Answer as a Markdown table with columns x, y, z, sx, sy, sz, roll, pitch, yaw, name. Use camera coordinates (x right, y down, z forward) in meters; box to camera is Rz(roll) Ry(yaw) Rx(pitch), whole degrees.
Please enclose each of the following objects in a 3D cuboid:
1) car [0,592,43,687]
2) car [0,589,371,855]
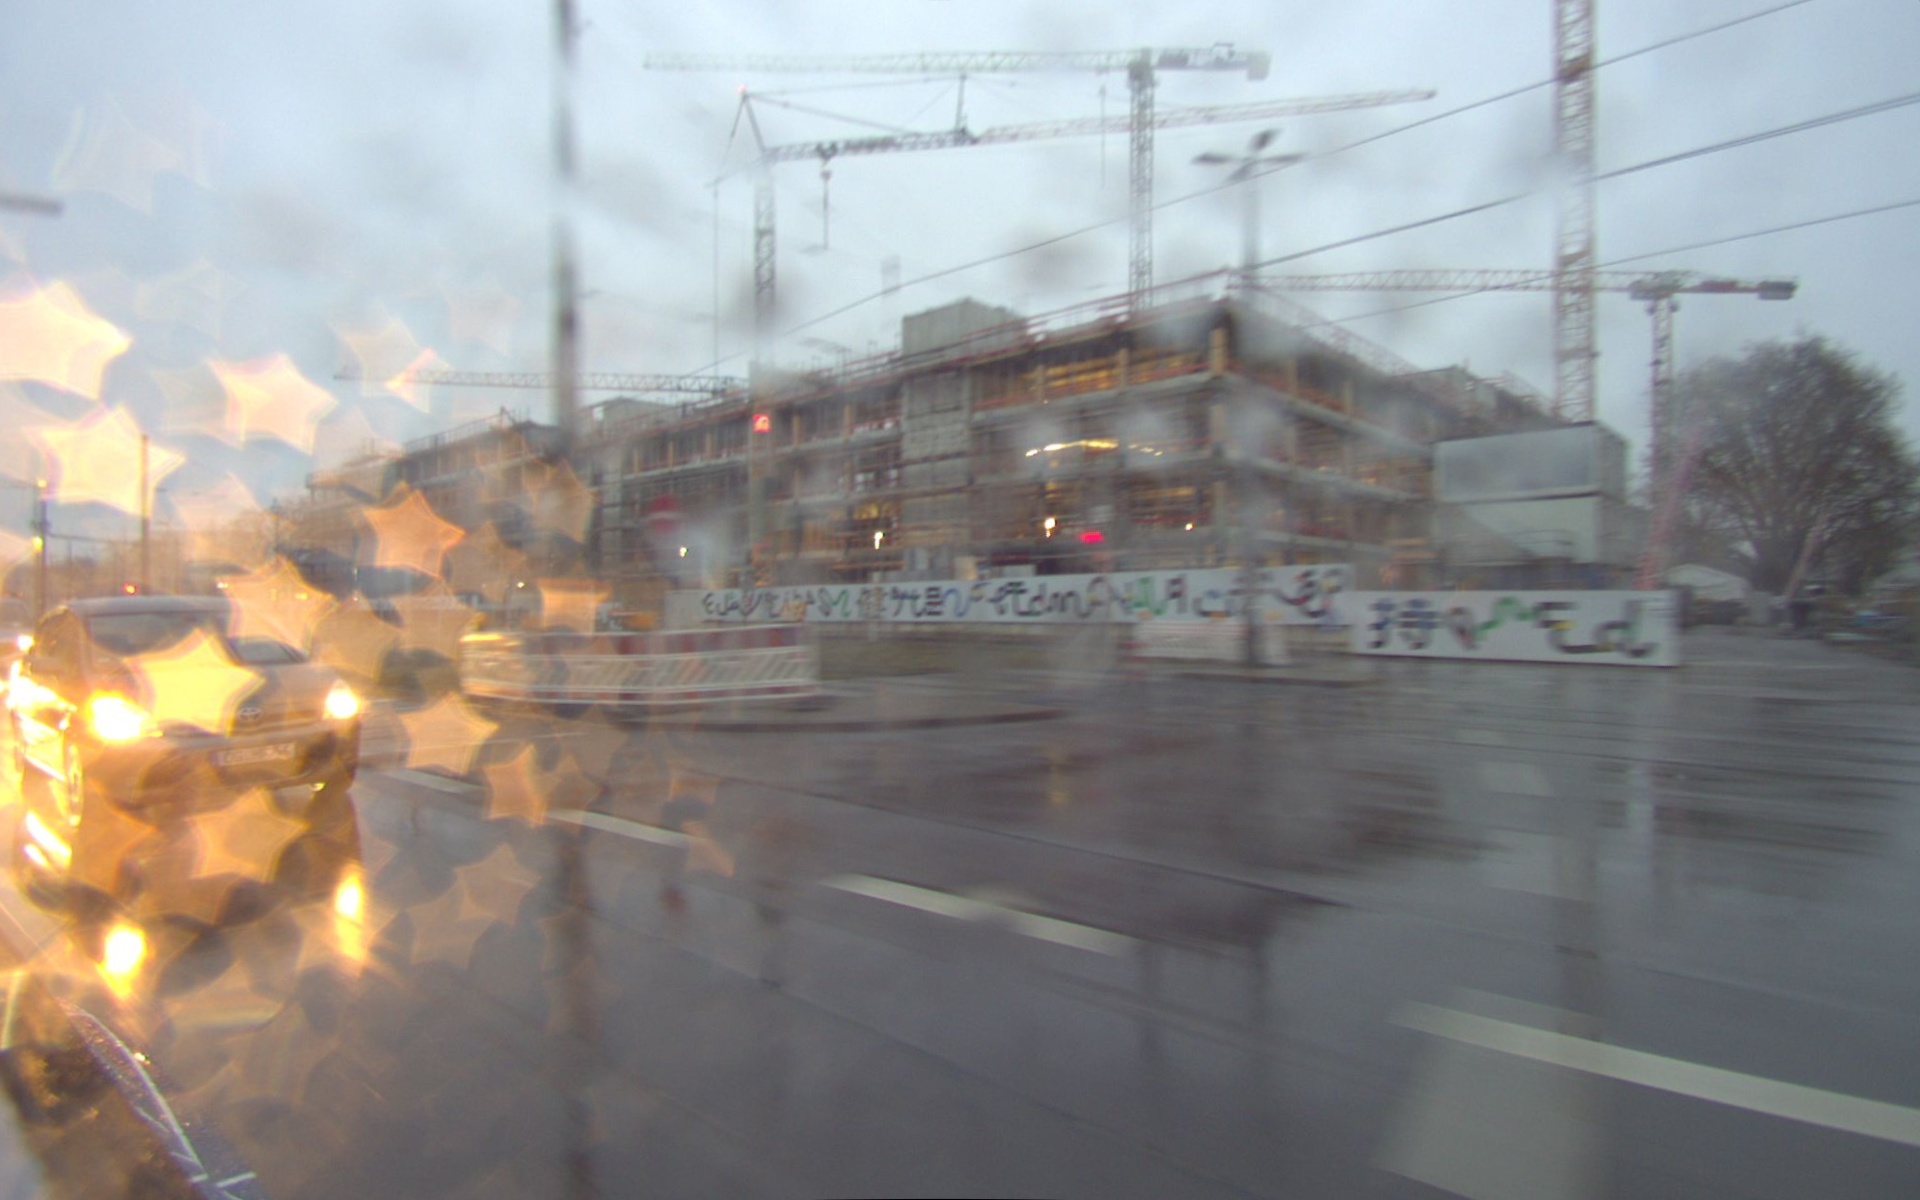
| x | y | z | sx | sy | sz | roll | pitch | yaw | name |
| --- | --- | --- | --- | --- | --- | --- | --- | --- | --- |
| -19.309 | 0.747 | 19.668 | 4.000 | 1.746 | 1.833 | 0 | 1 | 43 | car |
| -6.448 | 0.748 | 8.188 | 3.999 | 1.606 | 1.741 | 0 | 1 | 42 | car |
